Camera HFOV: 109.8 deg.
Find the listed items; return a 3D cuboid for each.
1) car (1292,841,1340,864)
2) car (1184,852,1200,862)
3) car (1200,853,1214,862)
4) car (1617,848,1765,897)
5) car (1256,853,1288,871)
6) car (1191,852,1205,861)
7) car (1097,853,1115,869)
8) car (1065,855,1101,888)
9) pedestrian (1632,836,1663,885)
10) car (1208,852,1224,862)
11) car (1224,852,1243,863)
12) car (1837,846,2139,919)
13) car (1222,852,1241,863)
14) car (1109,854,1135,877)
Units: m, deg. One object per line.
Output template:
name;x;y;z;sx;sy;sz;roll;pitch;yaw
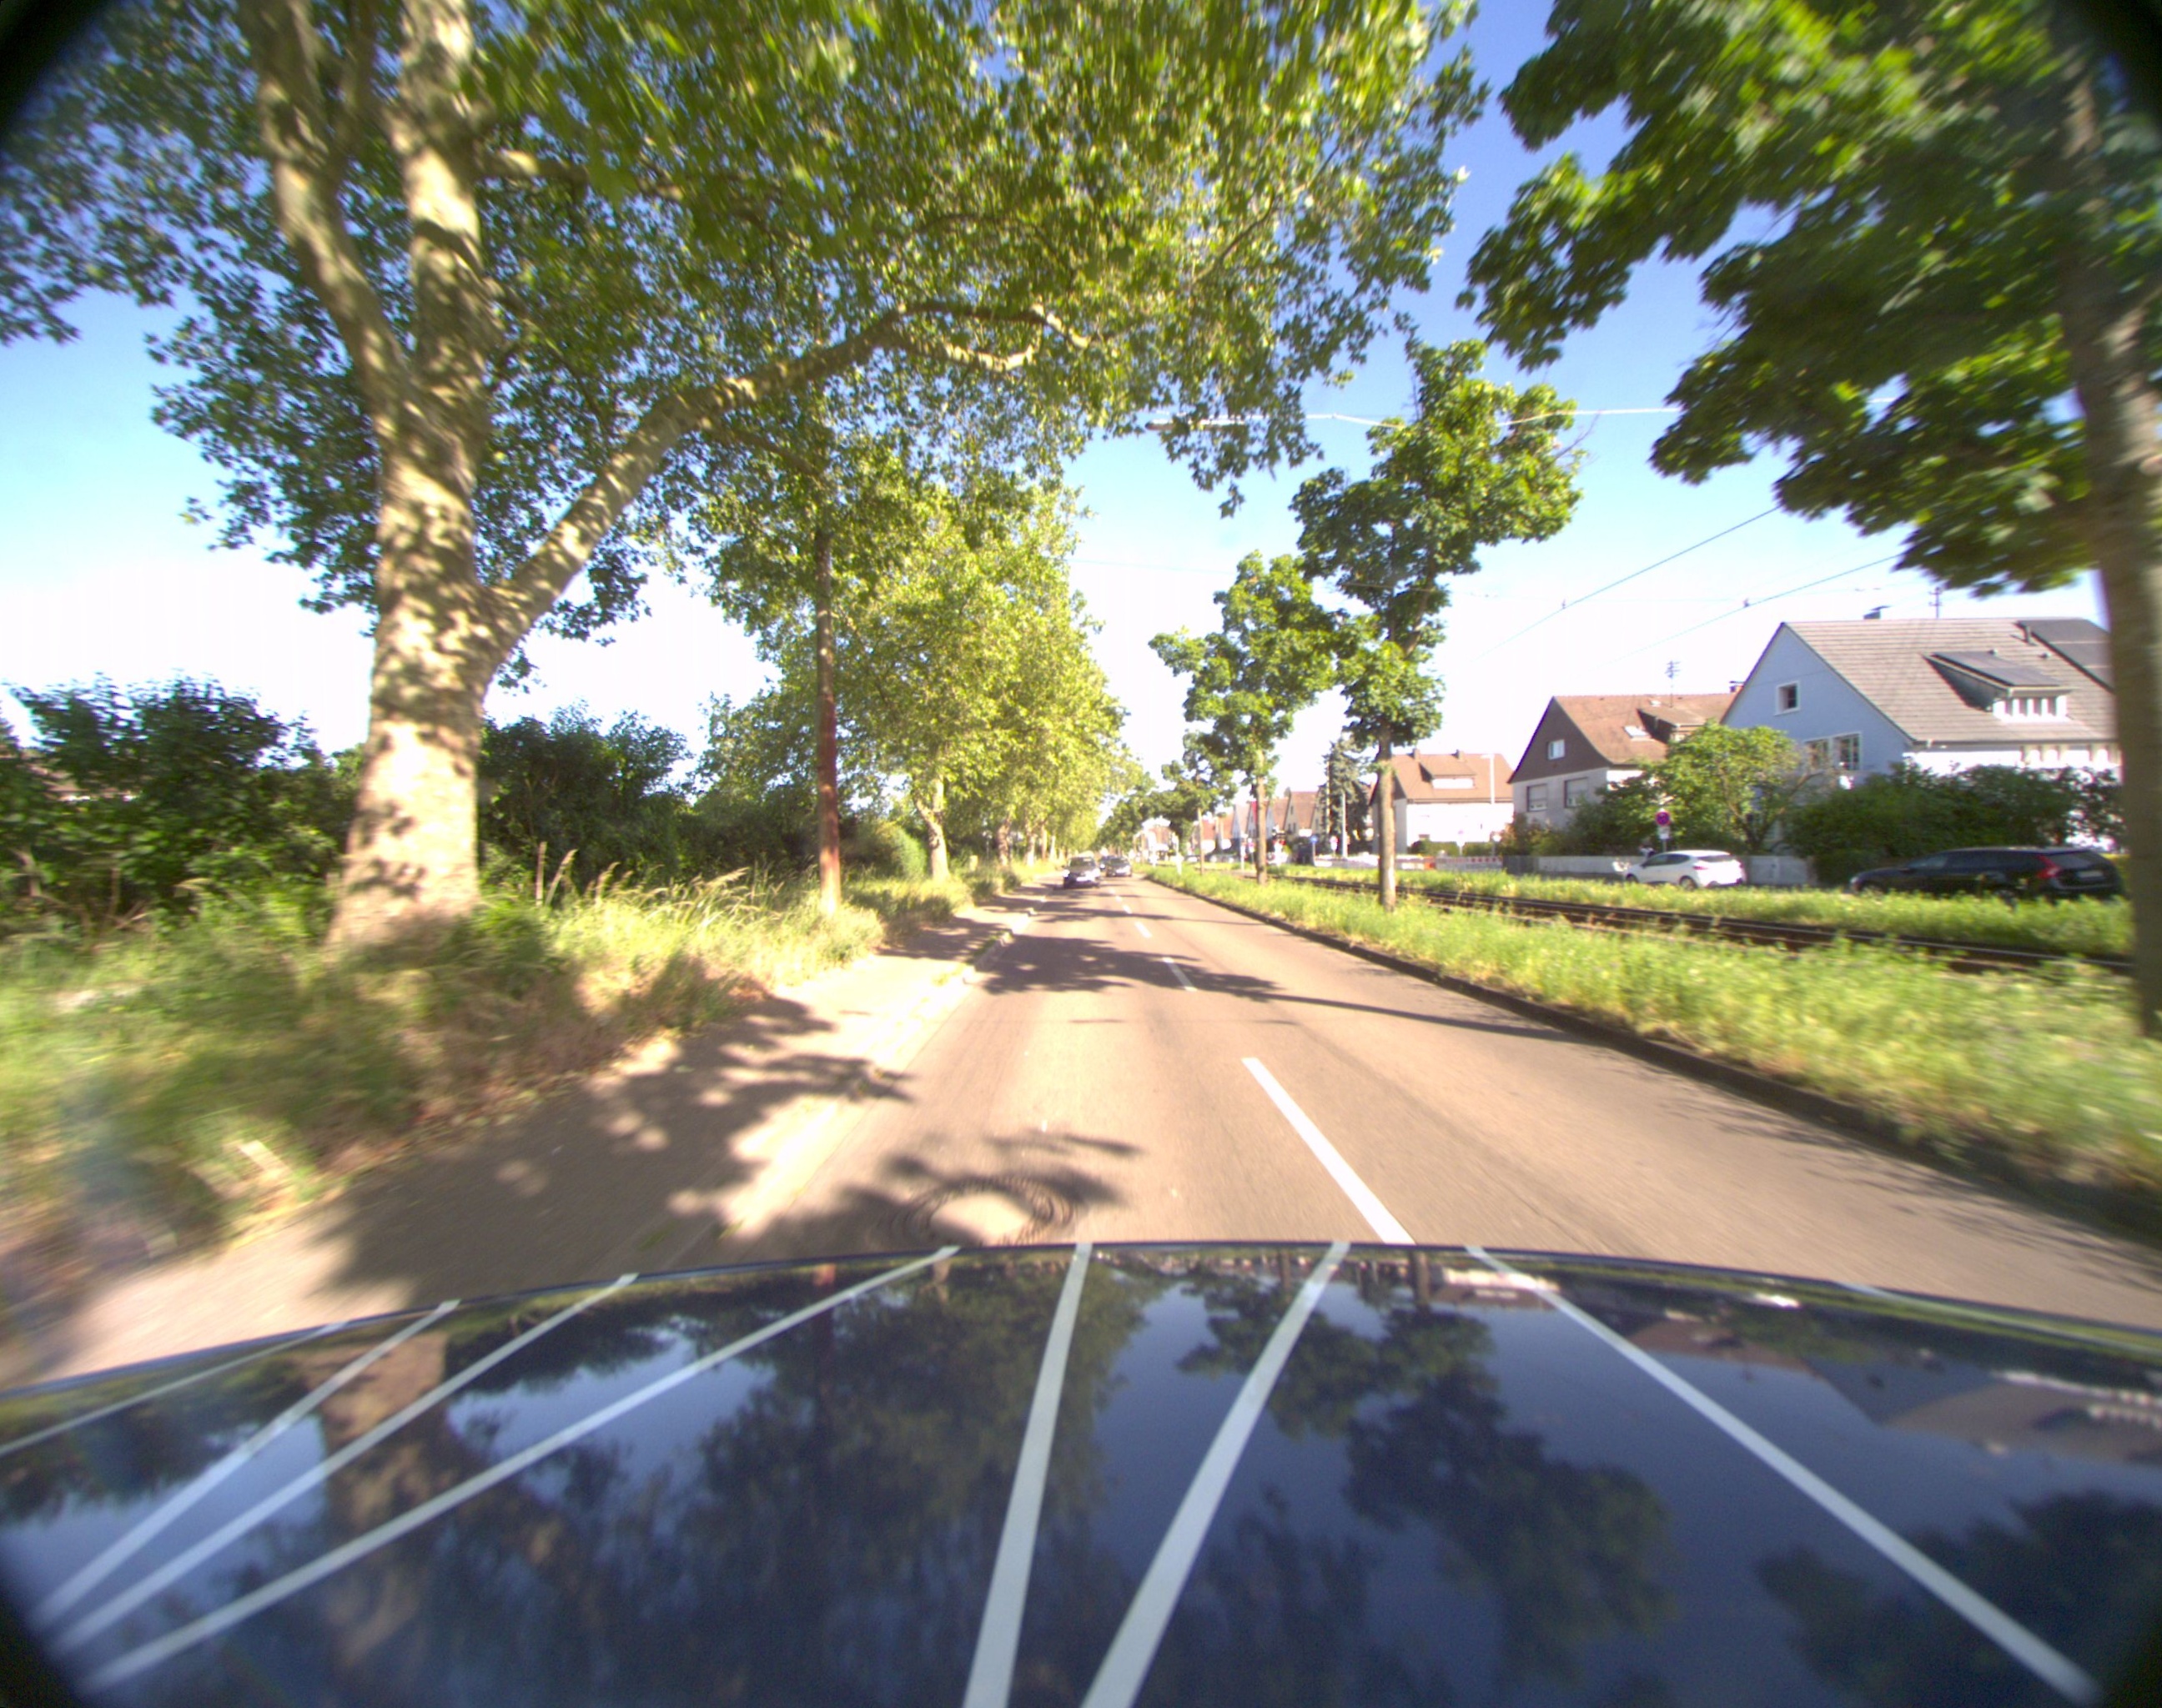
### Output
car;27.828;-0.196;90.038;5.041;2.609;2.102;-1;0;0
car;17.620;0.468;120.764;1.998;1.594;4.473;-2;0;0
car;22.981;0.634;138.871;1.931;1.486;4.256;-2;0;0
car;21.598;0.606;27.150;1.864;1.533;4.227;-2;0;0
car;17.189;0.690;68.534;1.665;1.543;4.810;-2;0;0
car;22.785;0.433;147.573;1.998;1.703;4.390;-2;0;0
car;2.554;0.708;78.111;1.692;1.499;3.582;-2;0;1
car;0.114;0.834;38.034;1.692;1.499;3.582;-2;0;1
pedestrian;23.622;0.262;31.689;0.682;2.002;0.772;-2;1;0
car;22.161;0.482;125.026;1.998;1.418;4.410;-2;0;2
car;22.262;0.524;111.086;1.951;1.544;4.056;-2;0;0
car;21.302;0.582;18.218;1.733;1.457;4.602;-2;0;0
car;23.026;0.540;116.141;1.998;1.441;4.127;-4;0;0
car;2.910;0.823;54.329;1.692;1.499;3.582;-2;0;1
